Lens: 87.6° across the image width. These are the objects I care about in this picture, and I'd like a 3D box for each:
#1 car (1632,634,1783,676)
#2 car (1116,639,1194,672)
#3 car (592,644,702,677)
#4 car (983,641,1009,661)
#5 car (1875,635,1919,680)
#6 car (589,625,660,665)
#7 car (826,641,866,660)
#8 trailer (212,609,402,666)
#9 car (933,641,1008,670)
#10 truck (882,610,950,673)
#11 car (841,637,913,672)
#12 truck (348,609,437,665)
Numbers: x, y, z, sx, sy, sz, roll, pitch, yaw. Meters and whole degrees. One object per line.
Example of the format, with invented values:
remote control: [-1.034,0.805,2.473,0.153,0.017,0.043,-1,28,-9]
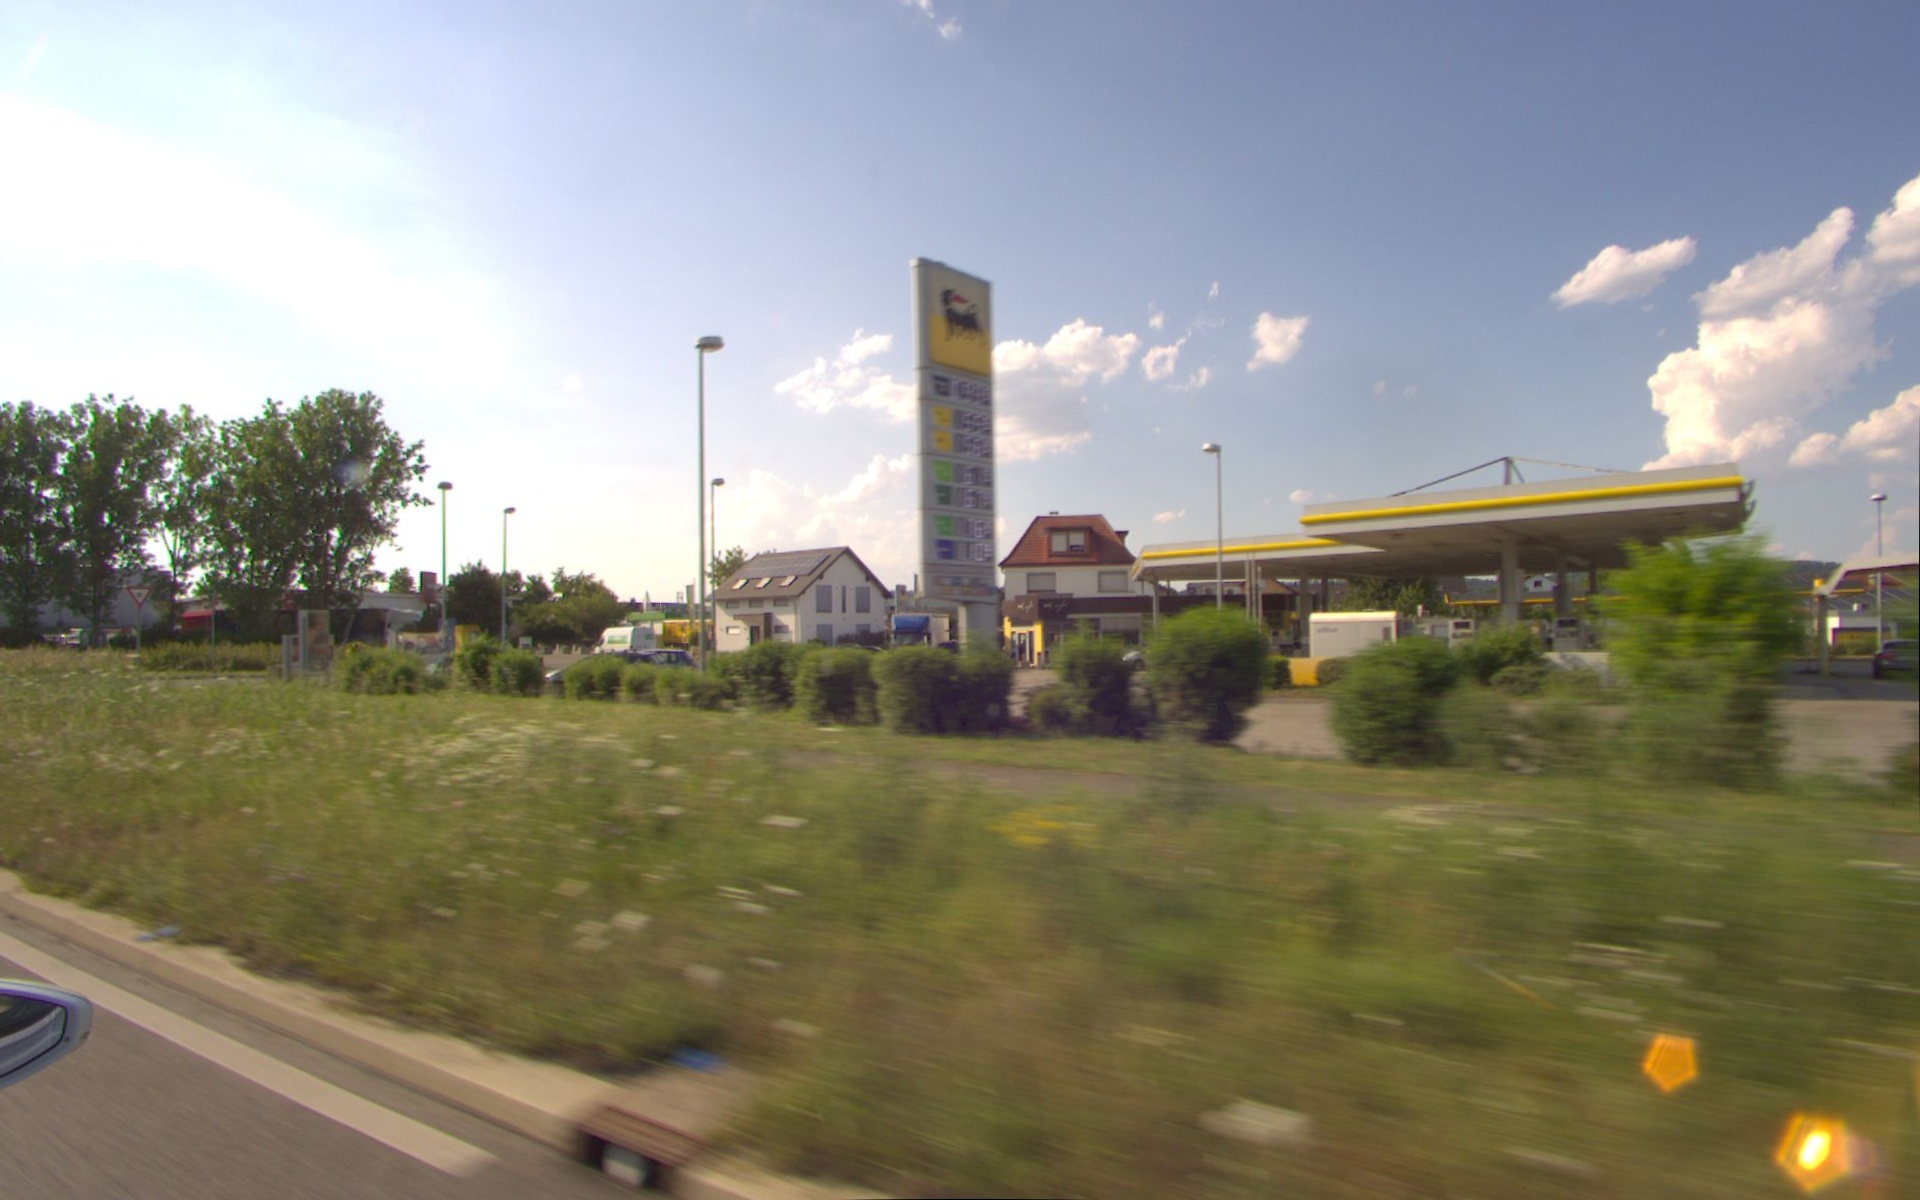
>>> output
car: [28.606,2.135,38.491,4.267,1.557,1.802,-1,-4,20]
car: [10.569,3.016,54.507,3.821,1.739,1.757,0,-3,-4]
car: [-12.286,2.372,39.440,3.840,1.218,1.601,0,0,-2]
car: [3.154,4.408,86.320,1.562,1.594,3.555,-1,-4,13]
car: [34.668,2.131,36.517,1.784,1.557,4.310,-3,-5,41]
car: [-23.489,3.223,69.944,2.214,2.548,6.761,3,-5,-42]
car: [-8.847,3.961,77.848,1.817,1.410,3.595,-1,-4,18]
trailer: [-47.683,2.782,73.096,13.459,3.962,2.252,-1,-4,9]
car: [0.619,3.259,58.242,4.335,1.654,1.853,0,-4,1]
truck: [-2.707,2.776,64.338,2.714,3.733,8.016,0,-4,9]
car: [-4.873,3.208,58.973,4.009,2.038,1.771,0,-3,4]
truck: [-40.858,2.696,72.168,5.019,3.962,2.253,0,-4,3]
